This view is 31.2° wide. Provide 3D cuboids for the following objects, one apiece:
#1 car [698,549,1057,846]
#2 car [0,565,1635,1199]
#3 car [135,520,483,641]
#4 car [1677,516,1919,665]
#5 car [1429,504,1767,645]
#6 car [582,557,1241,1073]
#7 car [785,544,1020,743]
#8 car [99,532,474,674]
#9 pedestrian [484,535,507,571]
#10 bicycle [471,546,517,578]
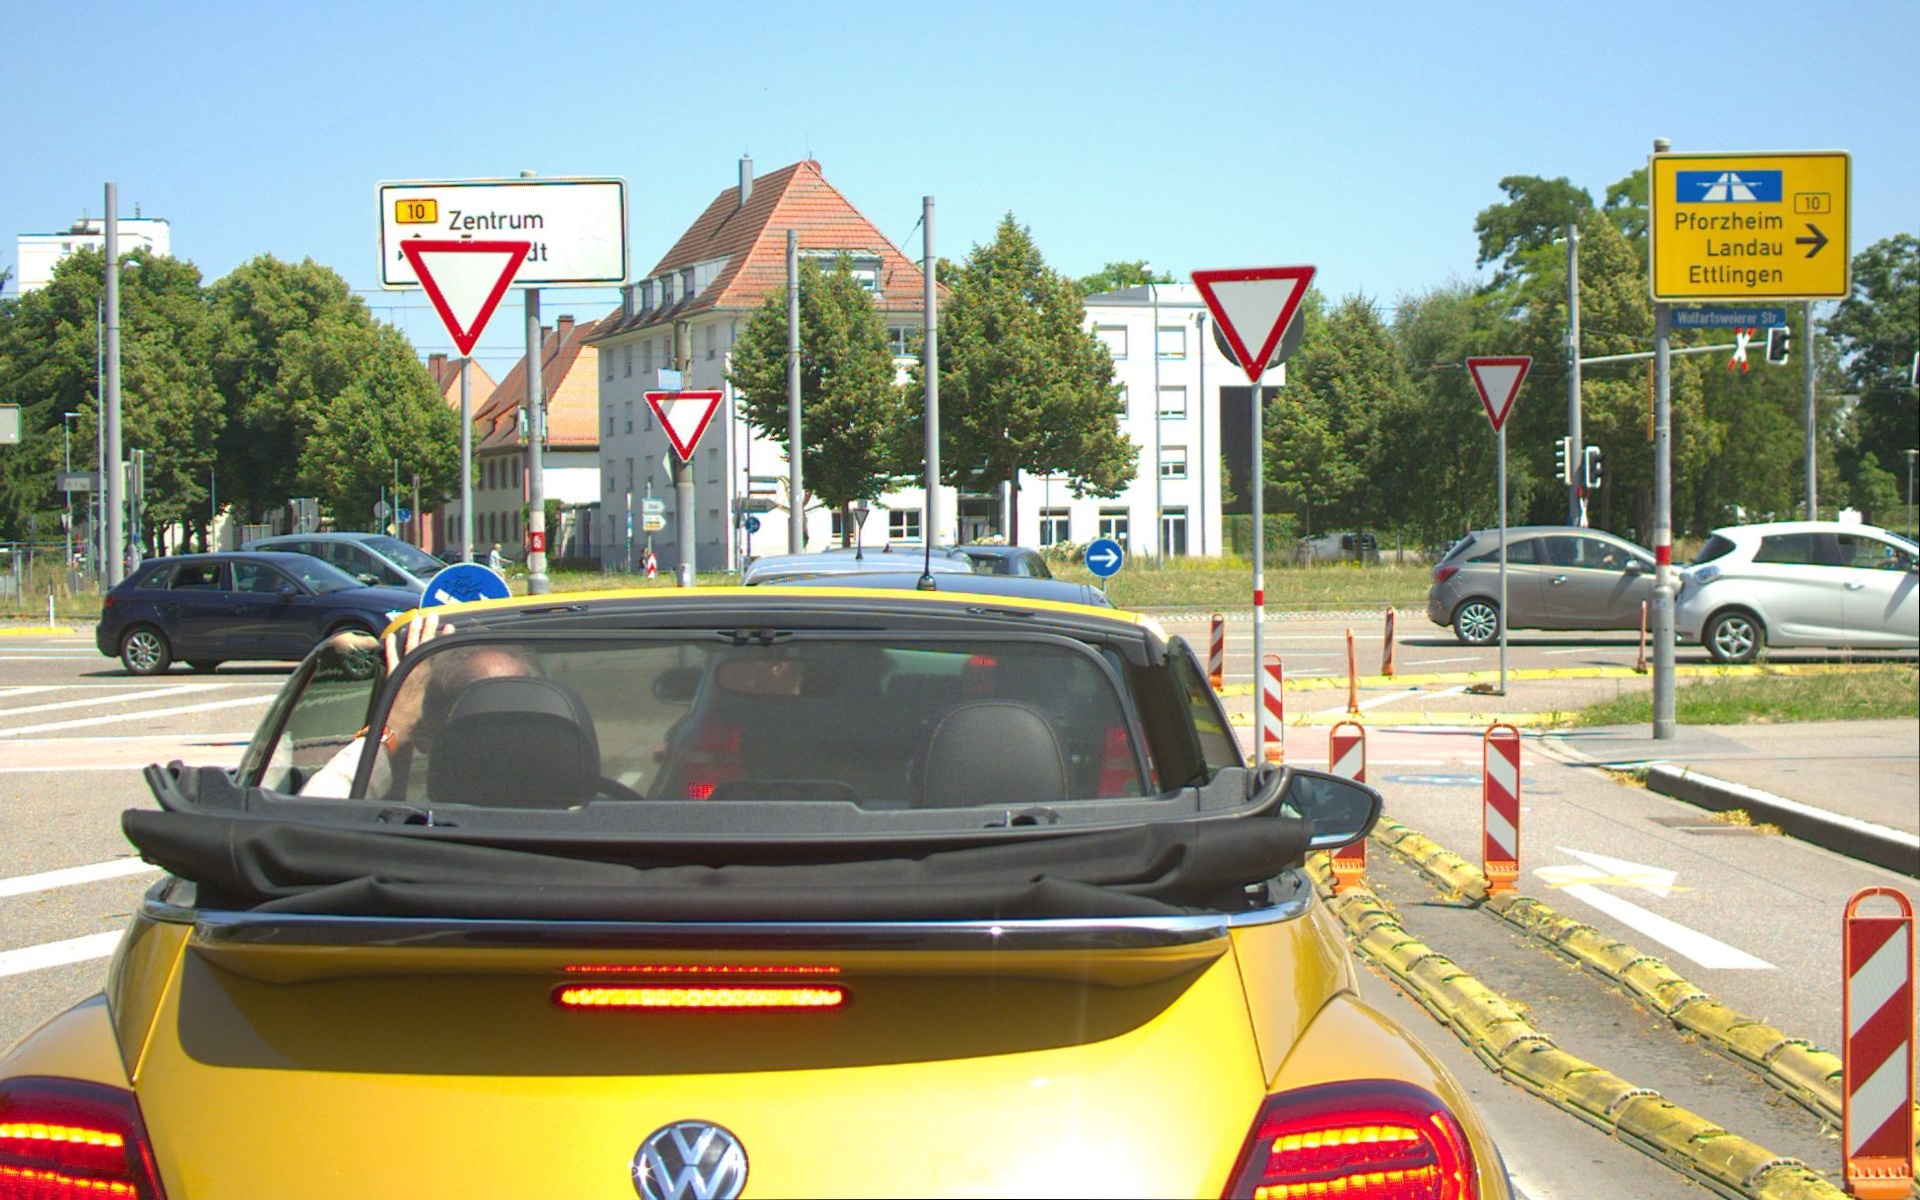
[{"bbox_3d":[-0.421,0.443,18.682,1.736,1.437,4.000,0,1,-1],"label":"car"},{"bbox_3d":[-0.321,0.672,4.868,1.752,1.417,3.778,0,1,-1],"label":"car"},{"bbox_3d":[-8.290,-0.262,43.860,3.990,1.491,1.799,0,1,17],"label":"car"},{"bbox_3d":[10.085,-0.118,38.369,4.001,1.614,1.680,0,1,10],"label":"car"},{"bbox_3d":[7.932,-0.318,42.882,3.988,1.491,1.647,-3,0,10],"label":"car"},{"bbox_3d":[-0.156,0.581,11.669,1.848,1.437,4.000,0,1,-1],"label":"car"},{"bbox_3d":[-0.447,0.293,27.483,1.736,1.472,4.000,0,1,-1],"label":"car"},{"bbox_3d":[-7.935,0.010,40.615,4.001,1.614,1.736,0,1,13],"label":"car"},{"bbox_3d":[-15.572,-1.577,115.328,0.675,1.226,0.499,0,1,-19],"label":"pedestrian"},{"bbox_3d":[-15.636,-1.263,115.311,1.465,1.067,0.499,0,1,-19],"label":"bicycle"}]
